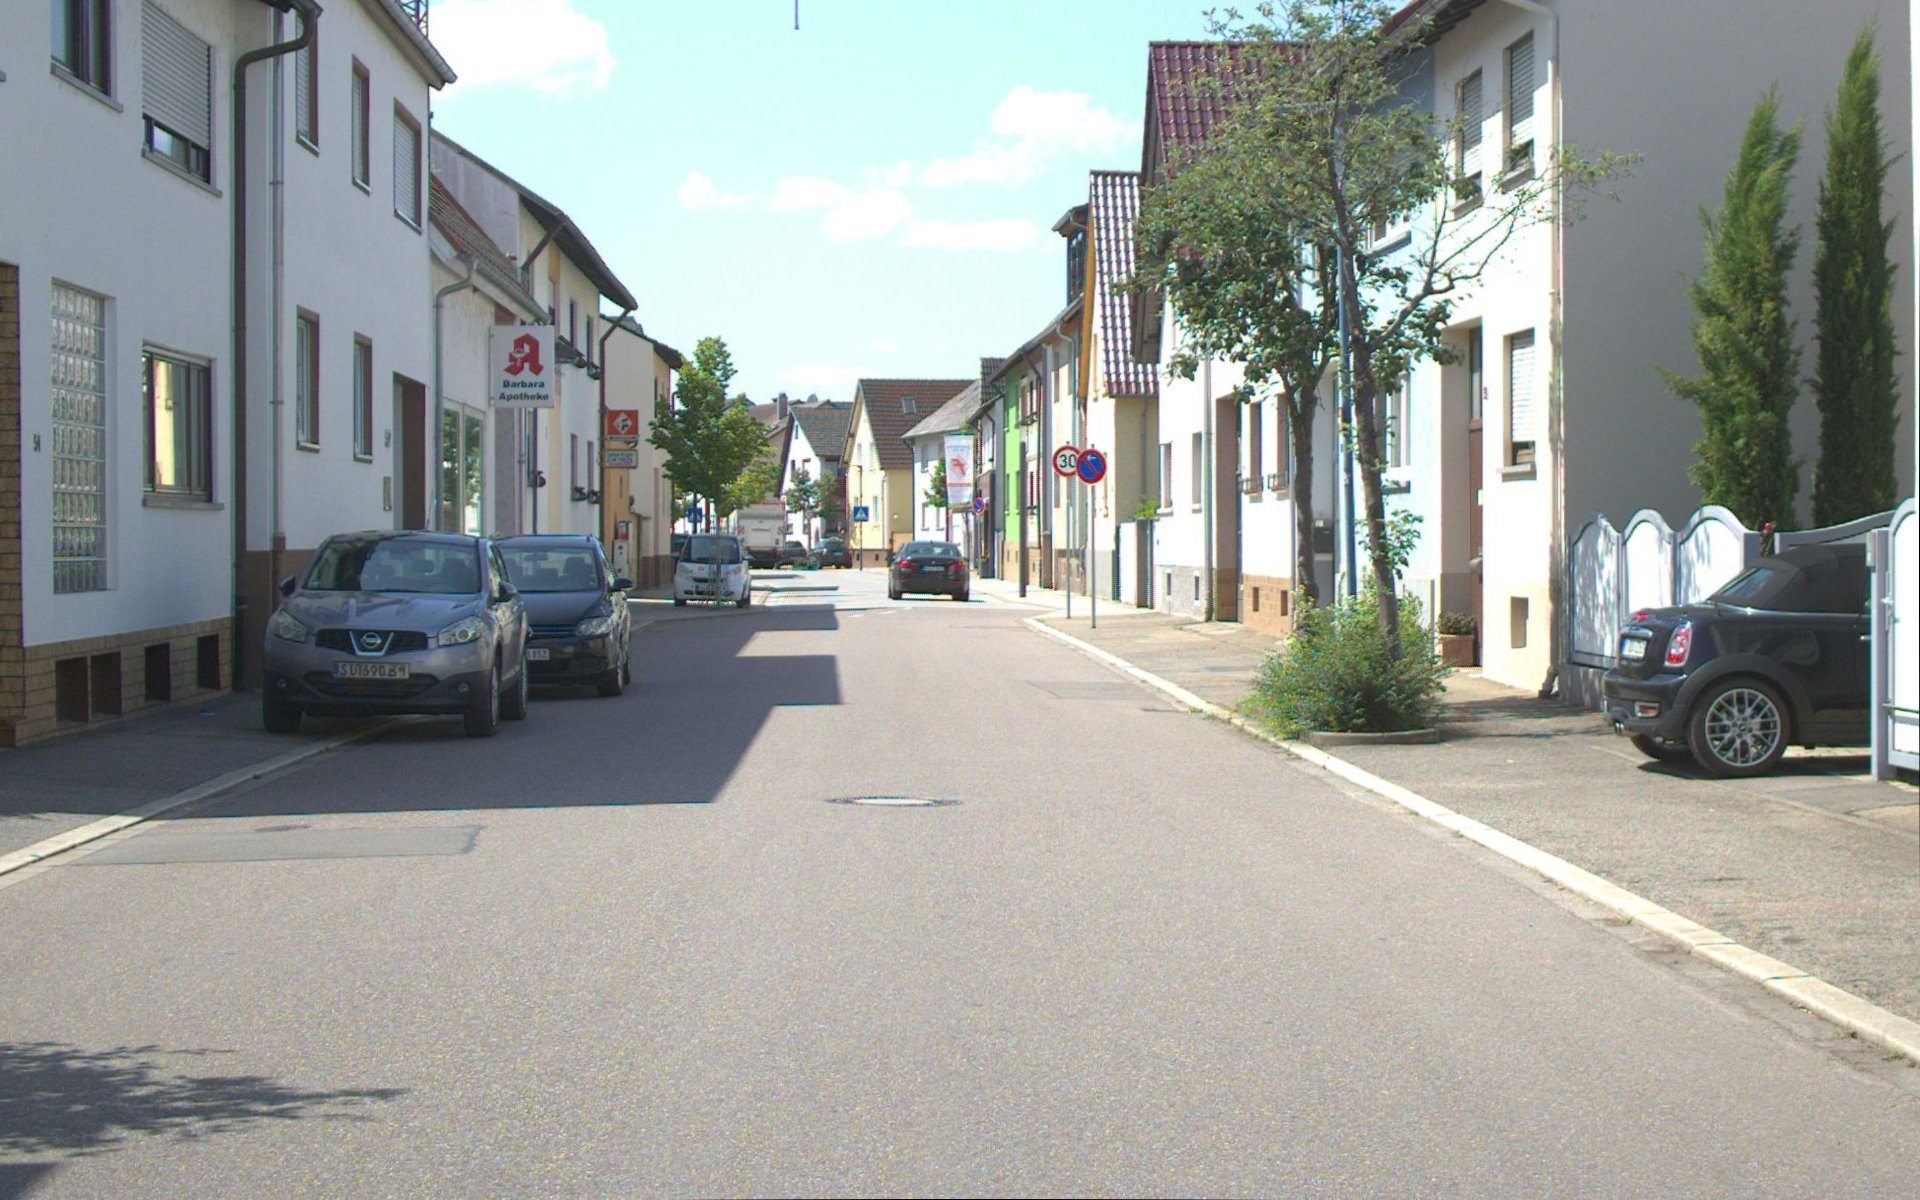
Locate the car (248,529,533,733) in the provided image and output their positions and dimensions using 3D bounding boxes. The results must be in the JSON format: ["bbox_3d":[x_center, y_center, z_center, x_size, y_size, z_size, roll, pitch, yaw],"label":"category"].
[{"bbox_3d":[-4.522,0.185,27.851,1.758,1.519,4.290,0,1,-2],"label":"car"}]

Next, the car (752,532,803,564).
[{"bbox_3d":[-10.108,-2.885,190.165,1.820,1.747,4.230,-1,1,-17],"label":"car"}]

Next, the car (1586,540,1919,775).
[{"bbox_3d":[6.079,0.332,21.682,3.922,1.410,1.740,0,1,-1],"label":"car"}]

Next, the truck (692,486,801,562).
[{"bbox_3d":[-11.492,-3.991,183.293,3.378,3.852,13.930,-1,1,-14],"label":"truck"}]

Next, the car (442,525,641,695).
[{"bbox_3d":[-4.132,0.049,34.458,1.653,1.603,4.061,0,1,-2],"label":"car"}]

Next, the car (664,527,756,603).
[{"bbox_3d":[-5.340,-0.777,73.830,1.723,1.550,4.172,2,1,-1],"label":"car"}]

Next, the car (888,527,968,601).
[{"bbox_3d":[-0.806,-0.879,83.778,1.782,1.747,4.001,-1,1,-3],"label":"car"}]

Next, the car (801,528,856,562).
[{"bbox_3d":[-6.939,-2.907,180.819,1.782,1.747,4.230,-1,1,-18],"label":"car"}]
